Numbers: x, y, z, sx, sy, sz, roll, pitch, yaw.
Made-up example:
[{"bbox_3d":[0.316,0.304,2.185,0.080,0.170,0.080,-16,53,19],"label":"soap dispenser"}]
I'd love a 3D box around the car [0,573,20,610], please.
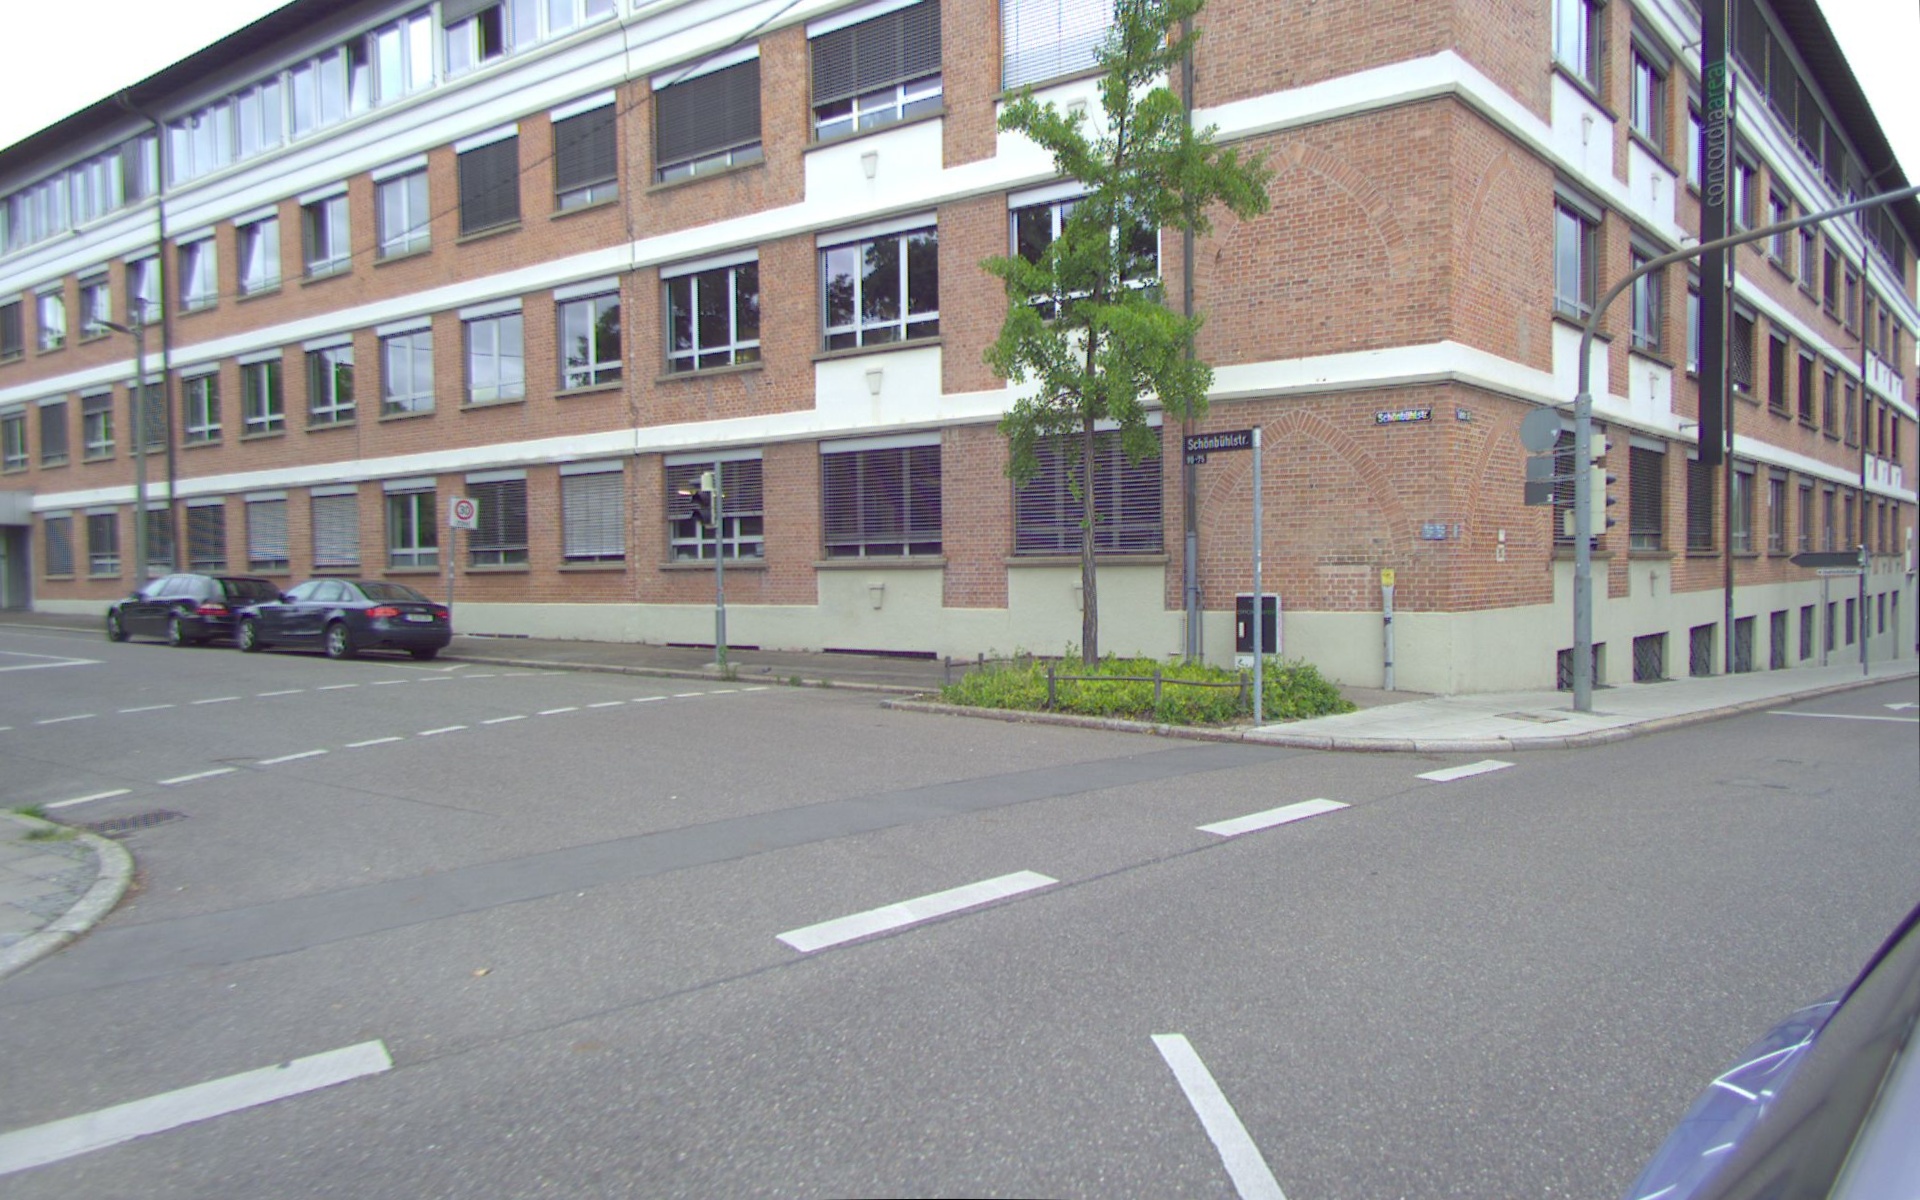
[{"bbox_3d":[-42.458,-0.446,42.292,1.916,1.568,4.223,2,-2,24],"label":"car"}]

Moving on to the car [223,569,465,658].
[{"bbox_3d":[-11.279,0.221,18.498,4.379,1.423,1.755,2,-2,28],"label":"car"}]

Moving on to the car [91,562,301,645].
[{"bbox_3d":[-15.804,0.069,20.904,4.357,1.529,1.755,2,-2,28],"label":"car"}]
